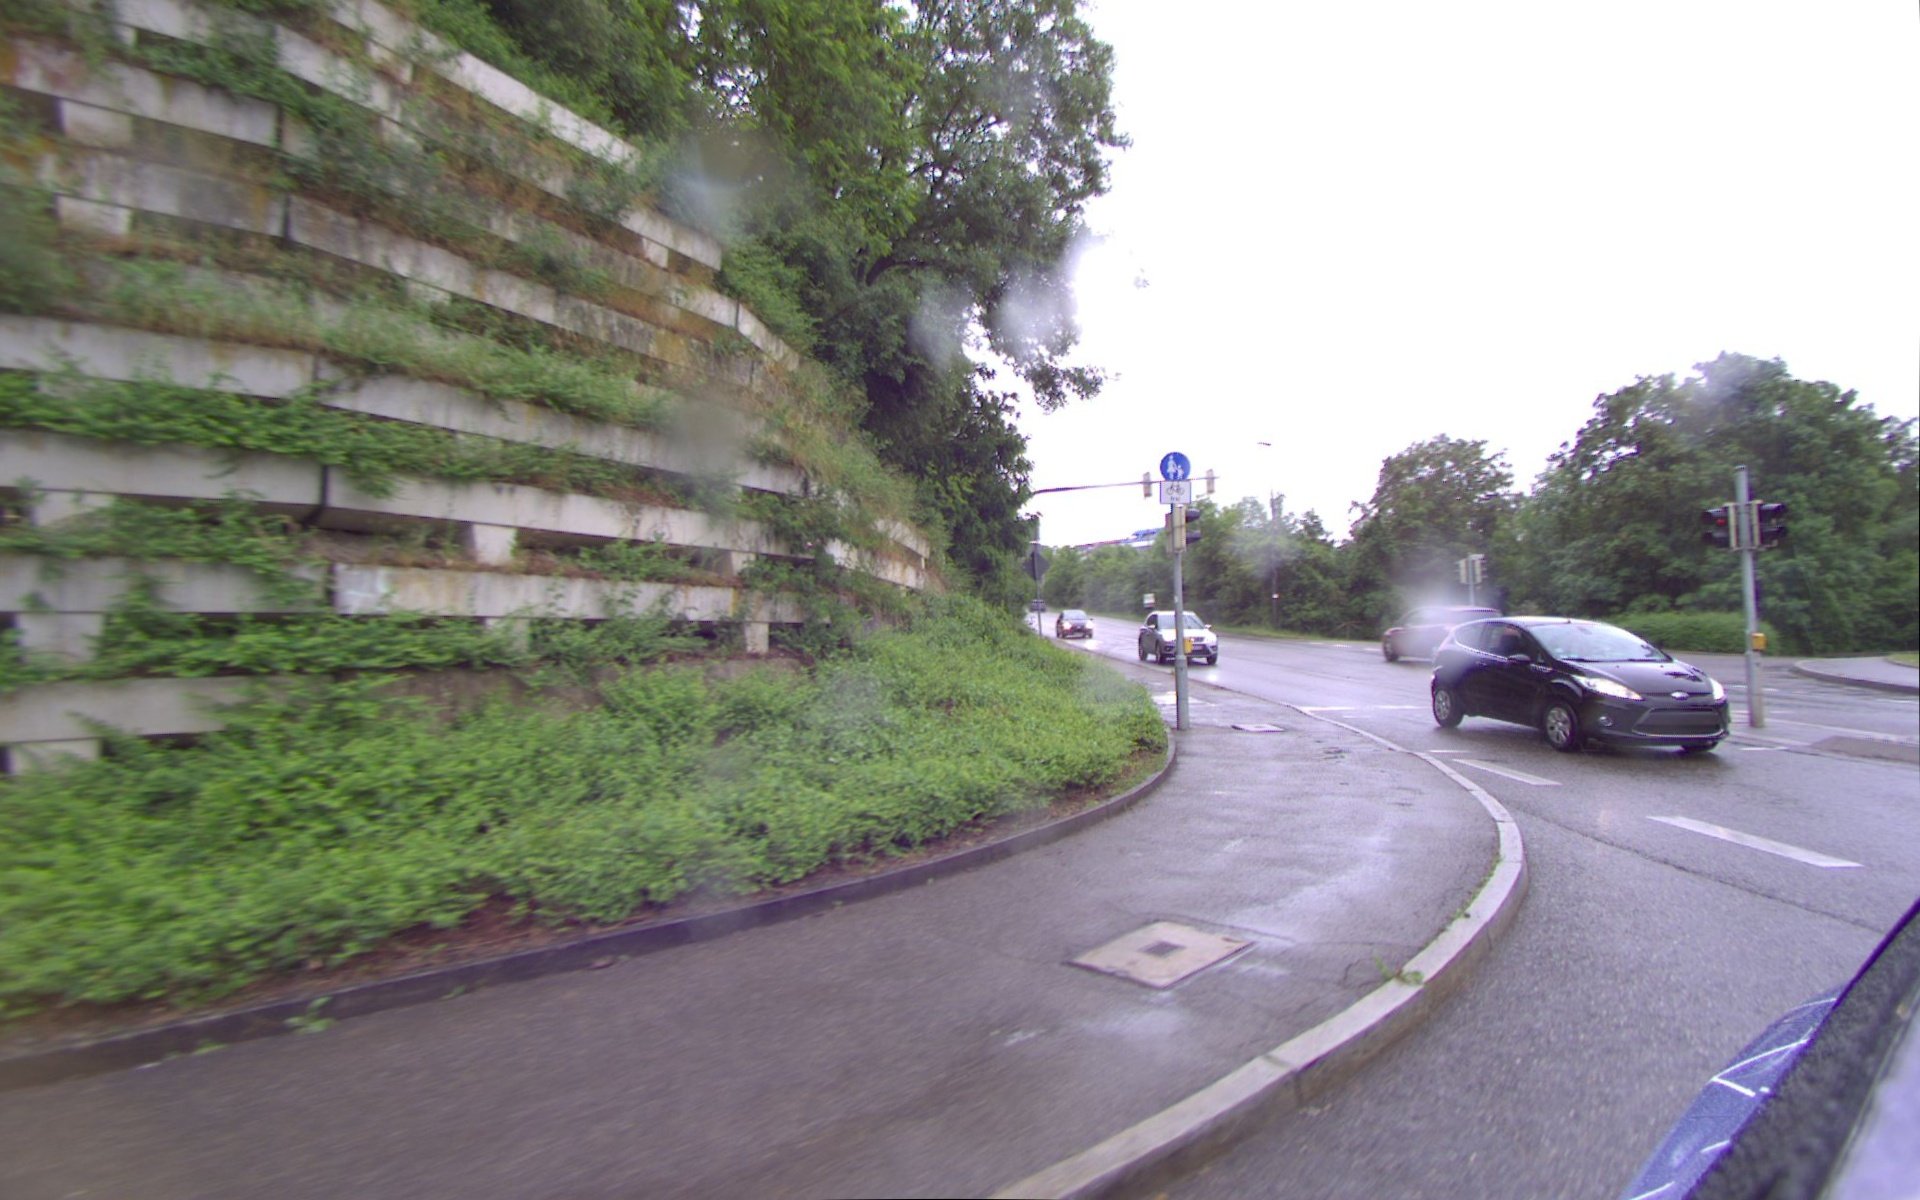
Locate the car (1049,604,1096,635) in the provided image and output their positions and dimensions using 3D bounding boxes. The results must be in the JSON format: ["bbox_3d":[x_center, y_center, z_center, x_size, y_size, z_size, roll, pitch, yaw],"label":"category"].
[{"bbox_3d":[5.815,0.998,52.713,1.649,1.527,4.156,0,-1,-4],"label":"car"}]

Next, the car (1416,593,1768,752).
[{"bbox_3d":[7.241,0.753,12.129,1.650,1.591,3.889,0,-1,-2],"label":"car"}]

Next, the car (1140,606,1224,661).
[{"bbox_3d":[6.626,0.957,30.567,1.651,1.527,4.152,0,-1,1],"label":"car"}]

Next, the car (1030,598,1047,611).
[{"bbox_3d":[9.641,0.555,124.173,1.705,1.594,3.869,0,-1,-1],"label":"car"}]

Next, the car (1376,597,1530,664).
[{"bbox_3d":[13.690,0.806,28.481,1.866,1.736,4.684,0,-1,-3],"label":"car"}]
